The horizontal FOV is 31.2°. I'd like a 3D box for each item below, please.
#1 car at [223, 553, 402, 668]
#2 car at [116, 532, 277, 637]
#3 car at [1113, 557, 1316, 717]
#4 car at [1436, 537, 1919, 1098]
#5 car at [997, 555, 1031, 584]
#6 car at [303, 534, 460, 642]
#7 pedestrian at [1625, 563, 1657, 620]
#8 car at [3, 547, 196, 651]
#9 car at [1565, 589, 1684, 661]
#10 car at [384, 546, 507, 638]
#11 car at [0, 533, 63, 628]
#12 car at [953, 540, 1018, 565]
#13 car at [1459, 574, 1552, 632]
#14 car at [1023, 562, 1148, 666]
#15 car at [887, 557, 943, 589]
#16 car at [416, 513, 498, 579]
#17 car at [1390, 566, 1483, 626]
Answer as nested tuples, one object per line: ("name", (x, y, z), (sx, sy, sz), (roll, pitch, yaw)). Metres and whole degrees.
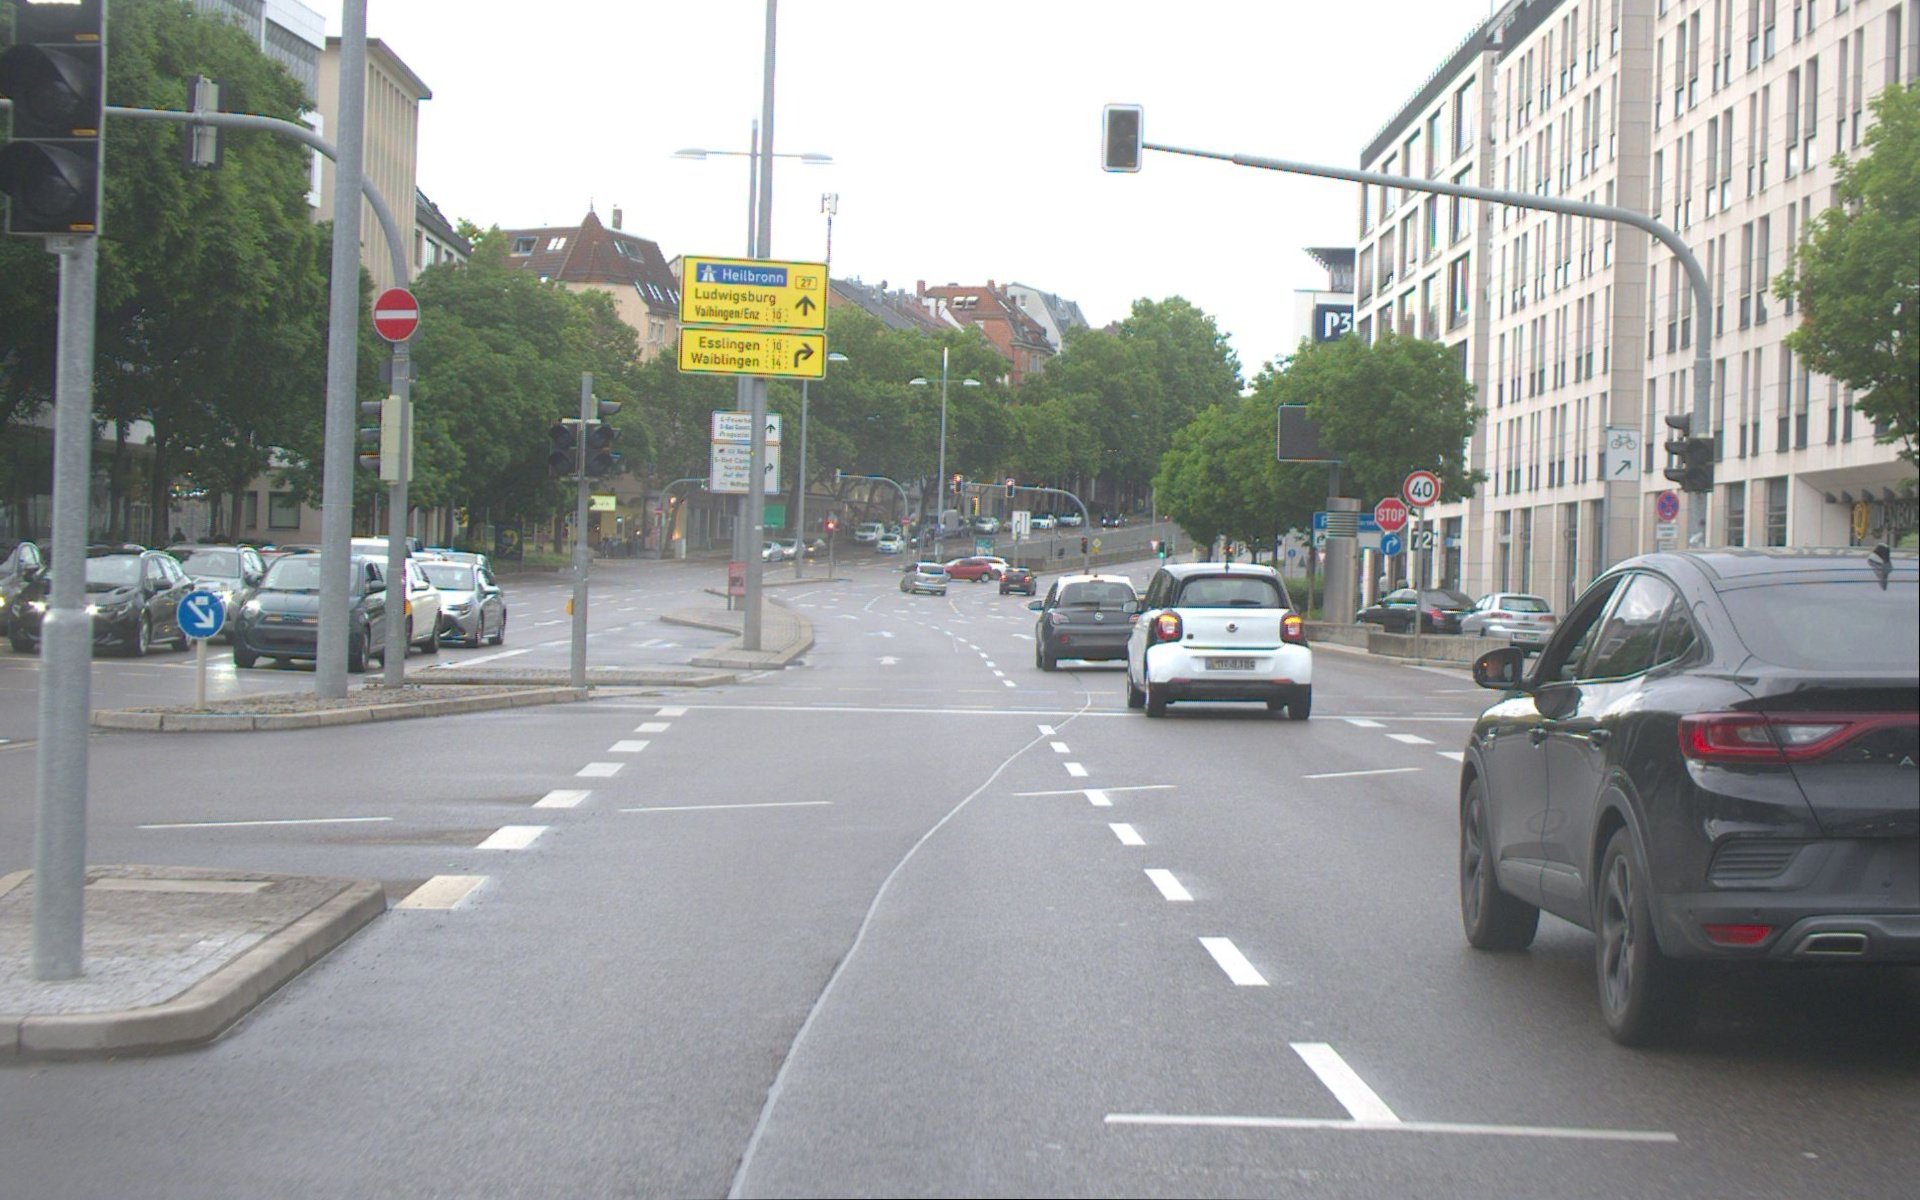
("car", (-8.554, 0.121, 45.663), (1.743, 1.439, 3.395), (1, 0, -1))
("car", (-11.901, -0.251, 53.782), (1.743, 1.553, 3.540), (1, 0, -1))
("car", (2.549, 0.342, 35.186), (1.724, 1.526, 3.814), (1, 0, -1))
("car", (2.873, 0.579, 11.771), (1.791, 1.501, 4.339), (1, 2, -1))
("car", (2.889, -1.649, 184.459), (1.740, 1.526, 3.814), (1, 0, -1))
("car", (-8.828, -0.194, 52.722), (1.702, 1.553, 4.245), (1, 0, -1))
("pedestrian", (18.241, -0.224, 92.116), (0.674, 1.523, 0.726), (1, 0, -1))
("car", (-11.650, -0.043, 46.732), (1.743, 1.253, 3.540), (2, 2, -1))
("car", (12.394, 0.451, 64.269), (1.506, 1.261, 3.502), (1, 0, -1))
("car", (-8.630, -0.150, 57.900), (1.538, 1.472, 3.696), (1, 0, -1))
("car", (-15.242, -0.327, 53.332), (1.743, 1.419, 3.540), (1, 0, -1))
("car", (1.612, -3.058, 219.634), (3.800, 1.526, 1.746), (0, 1, -18))
("car", (12.384, 0.049, 78.147), (1.506, 1.261, 3.502), (1, 0, -1))
("car", (1.913, 0.191, 53.432), (1.740, 1.526, 3.814), (1, 0, -1))
("car", (-2.298, -1.385, 173.760), (1.739, 1.526, 3.815), (0, 2, -18))
("car", (-13.797, -1.482, 94.472), (1.743, 1.742, 3.540), (1, 0, -1))
("car", (11.568, -0.112, 83.602), (1.661, 1.396, 3.832), (1, 0, -1))
